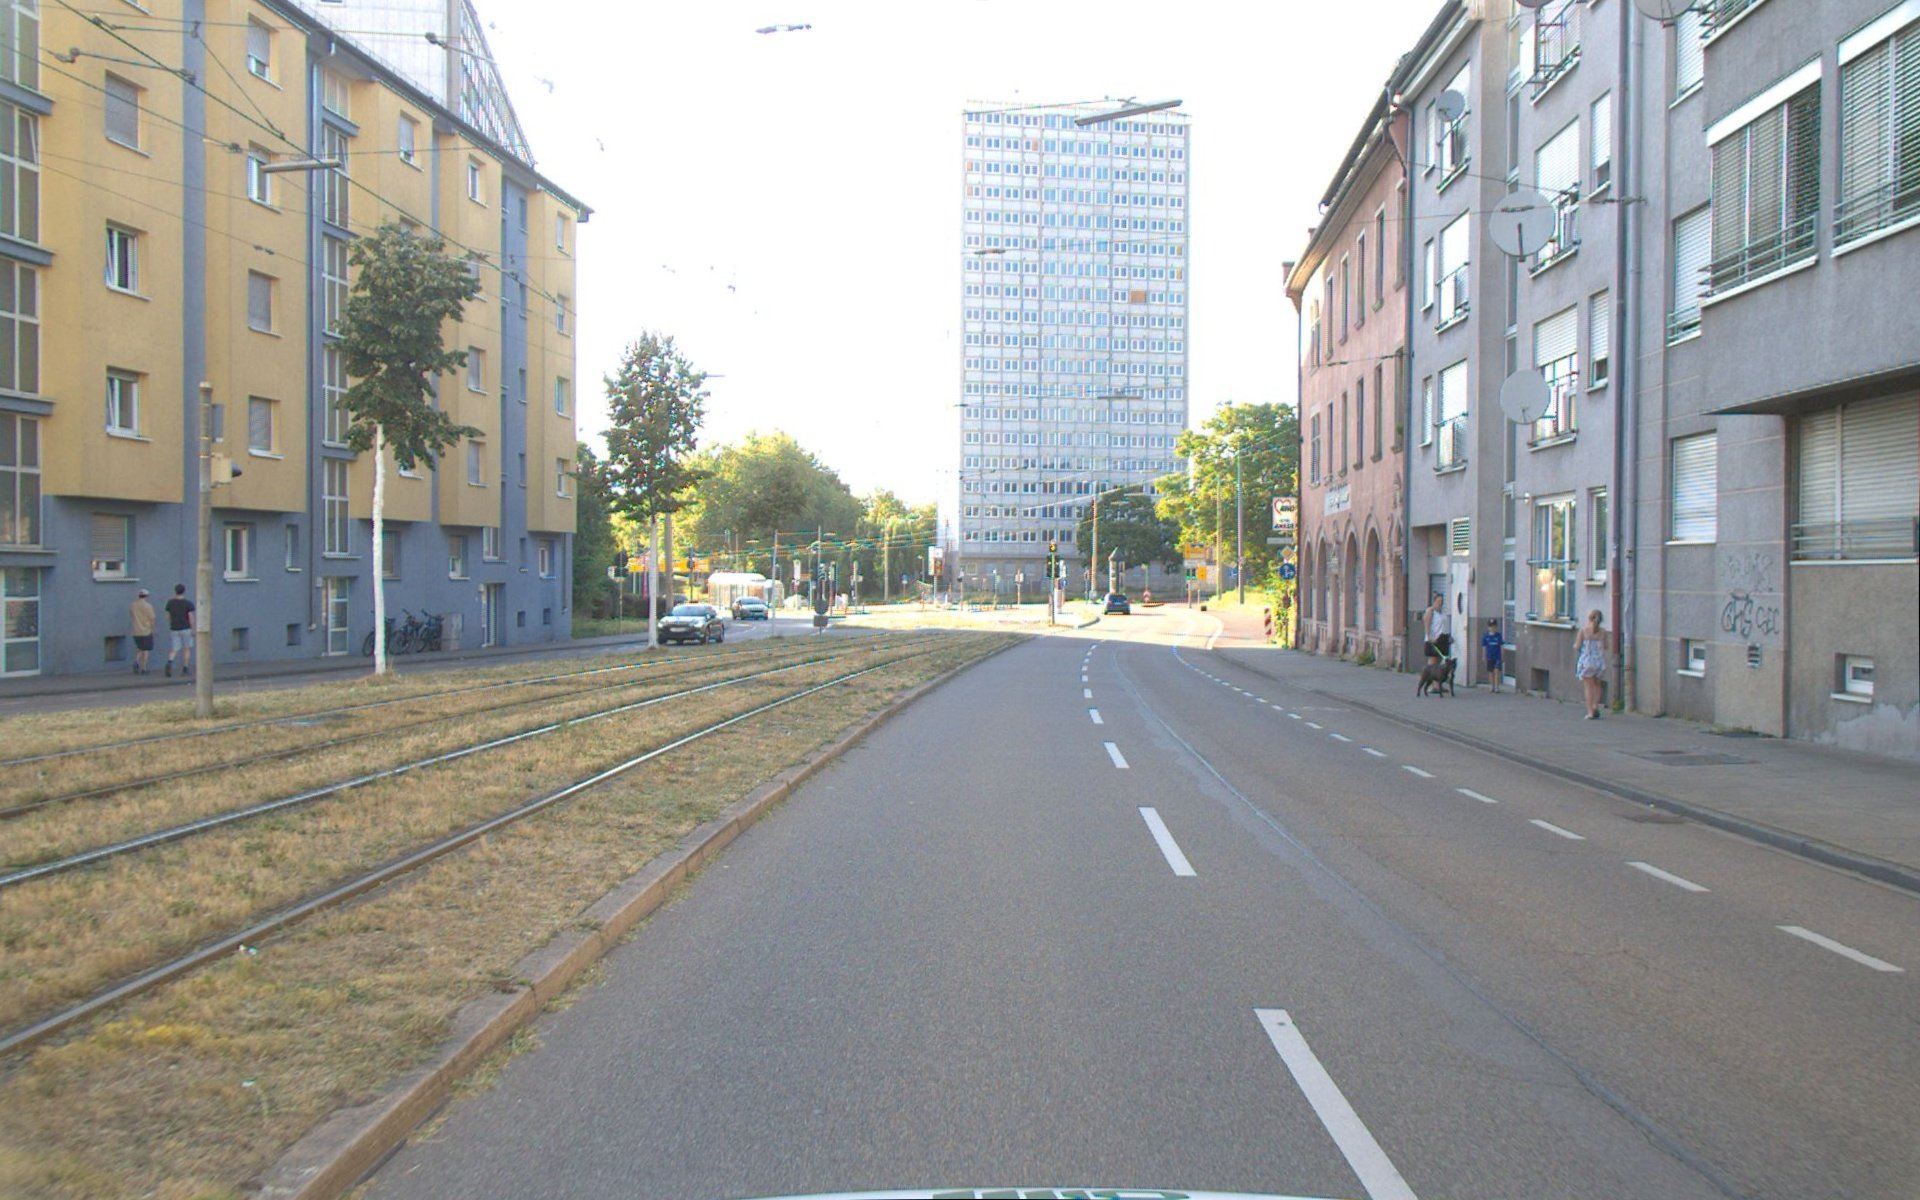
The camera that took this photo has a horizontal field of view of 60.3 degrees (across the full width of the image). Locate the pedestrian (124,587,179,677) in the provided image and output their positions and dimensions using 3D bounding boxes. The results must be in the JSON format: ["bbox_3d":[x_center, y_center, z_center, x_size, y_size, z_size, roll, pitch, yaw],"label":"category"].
[{"bbox_3d":[-16.193,0.629,33.130,0.603,1.723,0.706,5,1,4],"label":"pedestrian"}]

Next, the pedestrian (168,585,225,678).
[{"bbox_3d":[-15.436,0.631,33.448,0.580,1.803,0.886,4,1,4],"label":"pedestrian"}]

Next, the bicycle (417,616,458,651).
[{"bbox_3d":[-15.212,0.955,48.170,0.418,0.976,1.913,0,0,5],"label":"bicycle"}]

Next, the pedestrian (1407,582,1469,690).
[{"bbox_3d":[8.147,0.604,28.227,0.812,1.802,0.996,0,0,4],"label":"pedestrian"}]

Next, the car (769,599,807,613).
[{"bbox_3d":[-19.900,0.717,191.120,3.906,1.557,2.000,0,0,22],"label":"car"}]

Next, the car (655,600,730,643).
[{"bbox_3d":[-9.976,0.796,61.995,1.756,1.494,4.797,-2,-1,3],"label":"car"}]

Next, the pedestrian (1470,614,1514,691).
[{"bbox_3d":[8.991,0.883,27.983,0.575,1.273,0.585,0,0,4],"label":"pedestrian"}]

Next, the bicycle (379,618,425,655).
[{"bbox_3d":[-15.427,0.998,45.770,0.418,0.941,1.913,4,0,5],"label":"bicycle"}]

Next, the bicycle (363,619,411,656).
[{"bbox_3d":[-15.390,1.001,44.490,0.418,0.941,1.913,3,0,5],"label":"bicycle"}]

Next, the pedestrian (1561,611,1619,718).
[{"bbox_3d":[8.150,0.826,21.410,0.503,1.368,0.609,-1,-1,0],"label":"pedestrian"}]

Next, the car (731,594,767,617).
[{"bbox_3d":[-13.895,0.370,109.194,1.662,1.485,4.317,-1,0,2],"label":"car"}]

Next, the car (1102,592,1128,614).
[{"bbox_3d":[10.525,0.196,112.228,1.734,1.447,3.859,0,1,6],"label":"car"}]
